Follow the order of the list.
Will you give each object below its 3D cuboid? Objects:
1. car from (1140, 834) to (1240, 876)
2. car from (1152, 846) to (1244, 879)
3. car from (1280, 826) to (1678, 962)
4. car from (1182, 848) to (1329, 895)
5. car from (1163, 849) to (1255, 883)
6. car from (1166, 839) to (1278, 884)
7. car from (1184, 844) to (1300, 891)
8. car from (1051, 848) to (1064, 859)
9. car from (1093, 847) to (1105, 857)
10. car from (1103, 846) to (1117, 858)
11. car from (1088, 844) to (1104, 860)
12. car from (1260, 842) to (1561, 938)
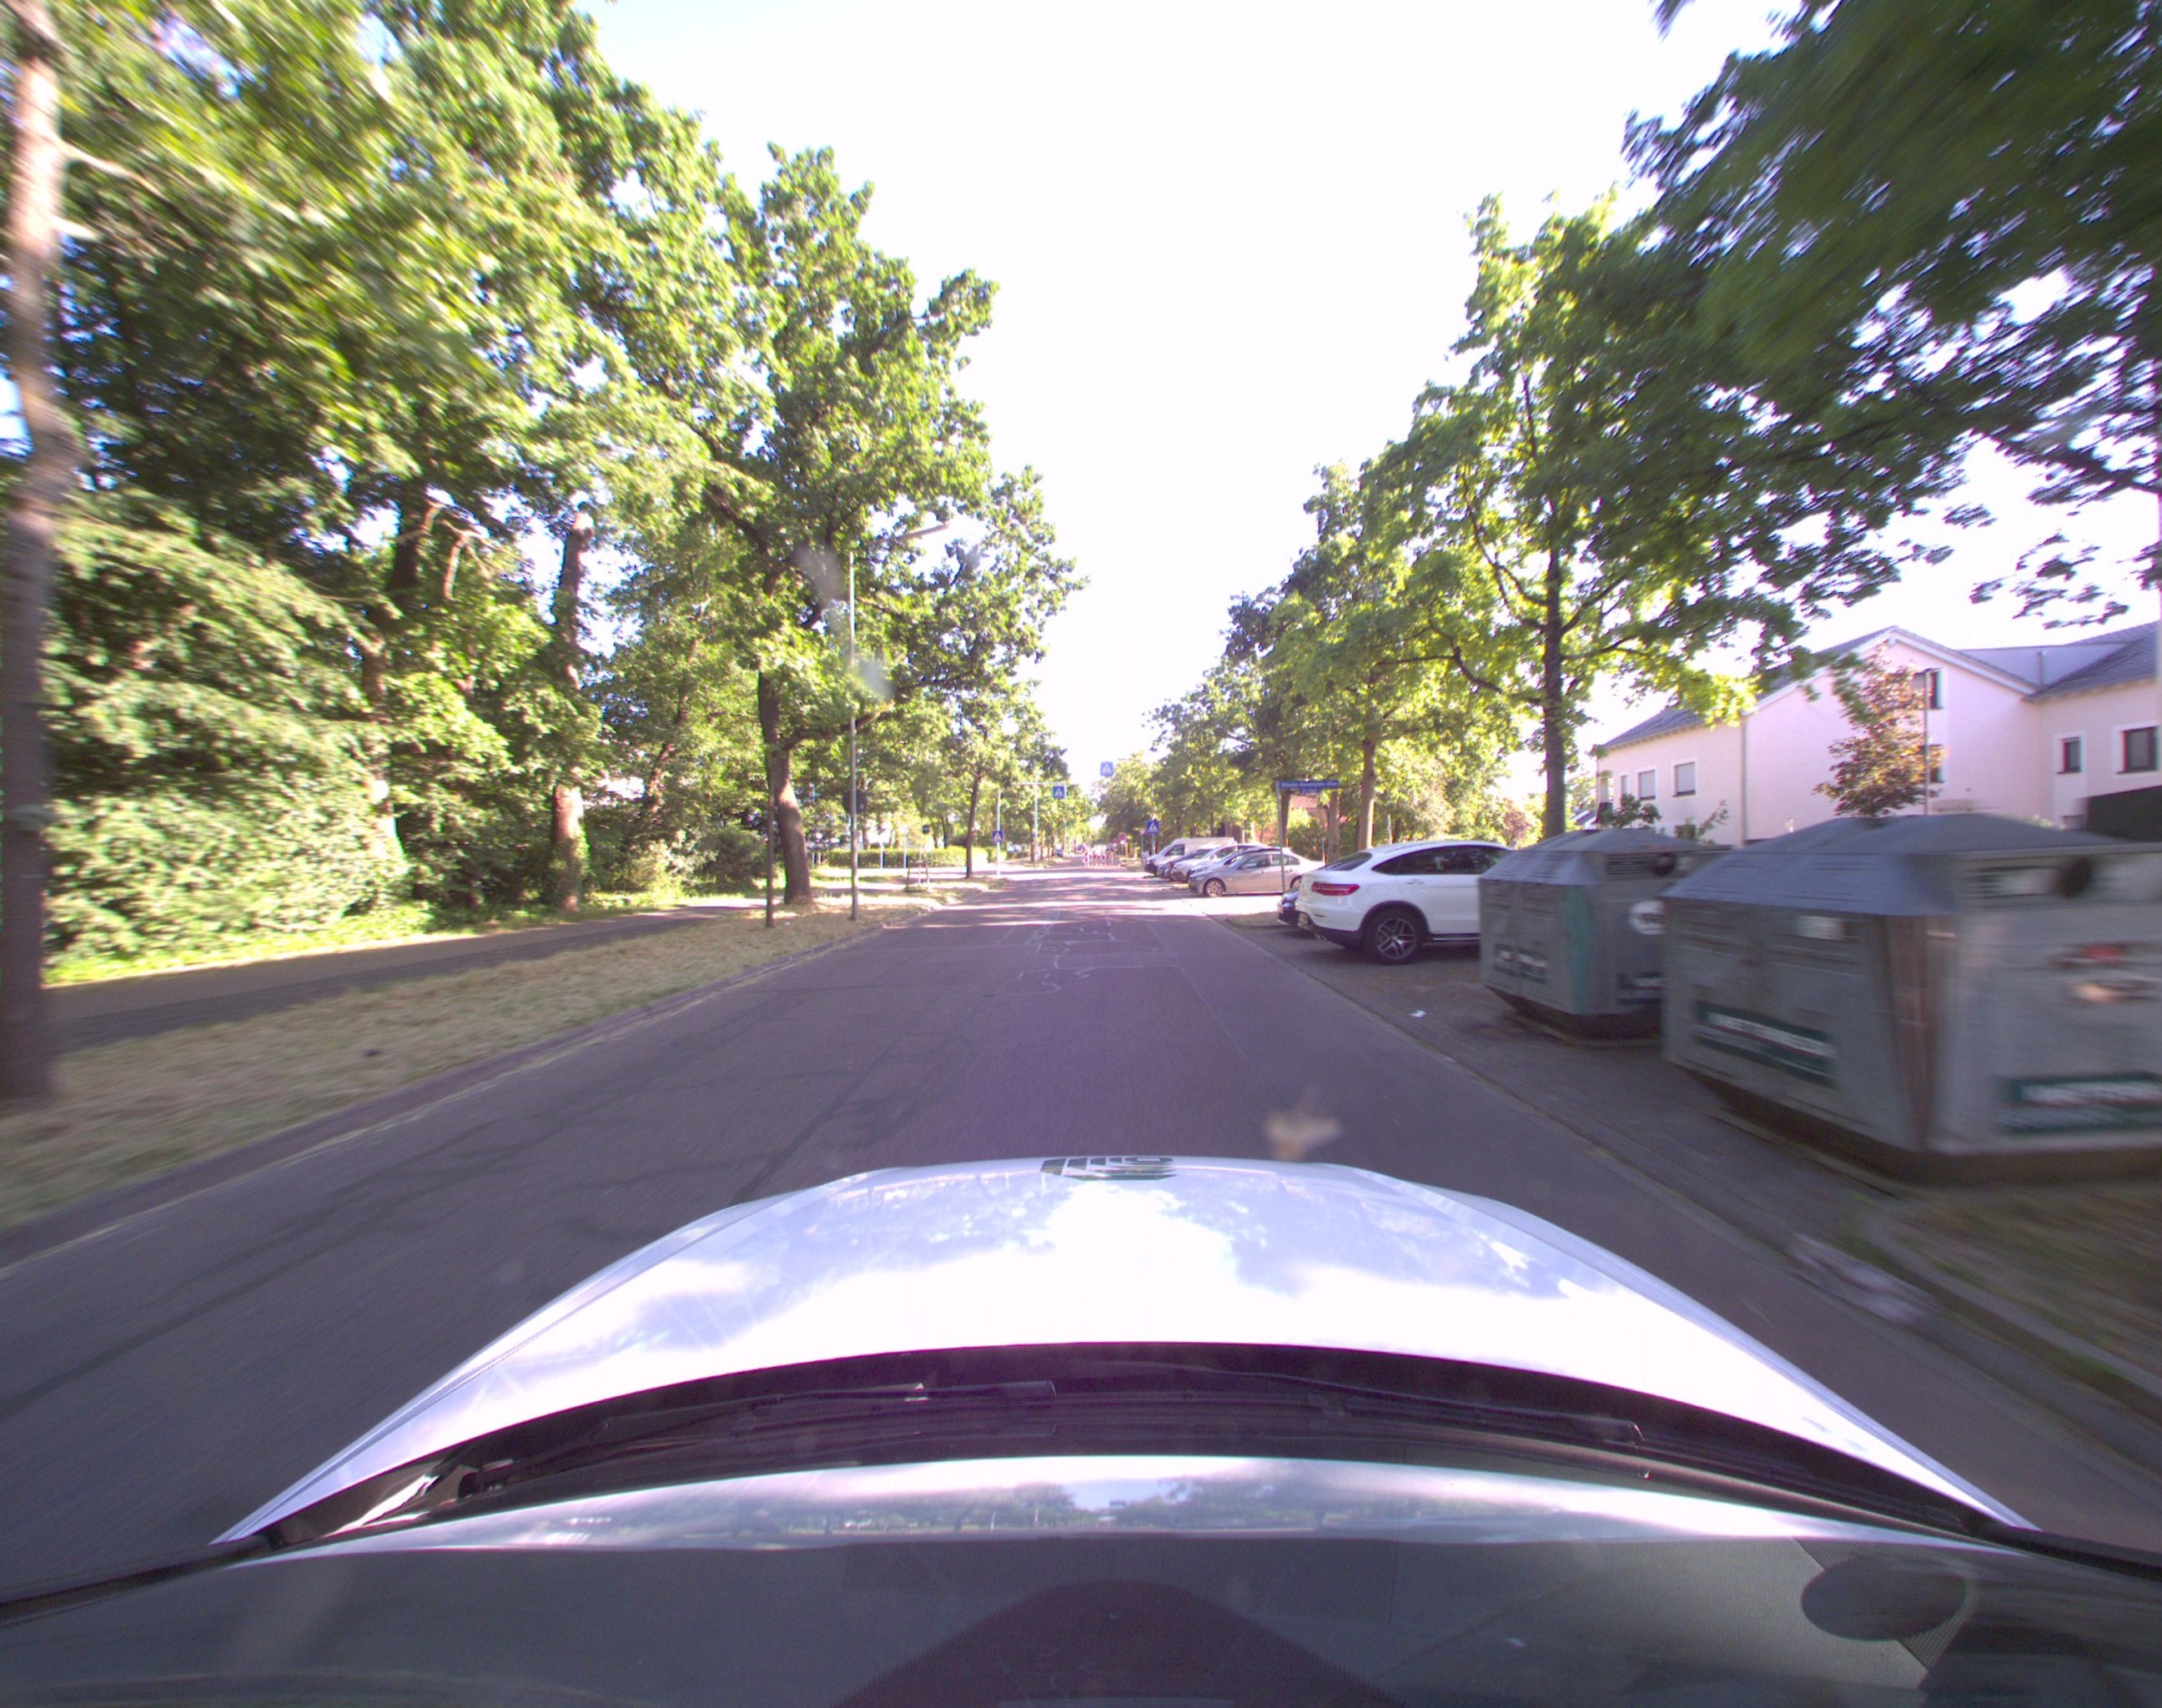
[{"bbox_3d":[5.938,0.050,44.689,5.171,2.105,2.082,-1,0,-1],"label":"car"},{"bbox_3d":[5.624,0.377,39.554,4.200,1.568,1.933,0,0,-1],"label":"car"},{"bbox_3d":[5.373,0.511,11.489,4.653,1.580,1.917,-2,0,1],"label":"car"},{"bbox_3d":[5.651,0.548,26.771,4.430,1.390,1.911,-1,0,0],"label":"car"},{"bbox_3d":[5.740,0.514,36.913,3.971,1.433,1.902,-1,0,2],"label":"car"},{"bbox_3d":[5.884,0.294,34.376,4.371,1.651,1.850,-2,0,-1],"label":"car"},{"bbox_3d":[5.820,0.467,29.755,3.872,1.497,1.777,-2,0,0],"label":"car"},{"bbox_3d":[-3.694,-0.132,127.903,1.987,1.716,4.000,0,0,1],"label":"car"},{"bbox_3d":[2.973,-0.363,137.262,1.987,1.716,4.000,0,0,1],"label":"car"},{"bbox_3d":[4.267,-0.307,121.492,1.987,1.716,4.000,0,0,1],"label":"car"},{"bbox_3d":[1.861,-0.229,100.584,1.987,1.933,4.000,0,0,1],"label":"car"},{"bbox_3d":[5.791,0.603,14.738,4.655,1.455,1.917,-2,0,0],"label":"car"}]
